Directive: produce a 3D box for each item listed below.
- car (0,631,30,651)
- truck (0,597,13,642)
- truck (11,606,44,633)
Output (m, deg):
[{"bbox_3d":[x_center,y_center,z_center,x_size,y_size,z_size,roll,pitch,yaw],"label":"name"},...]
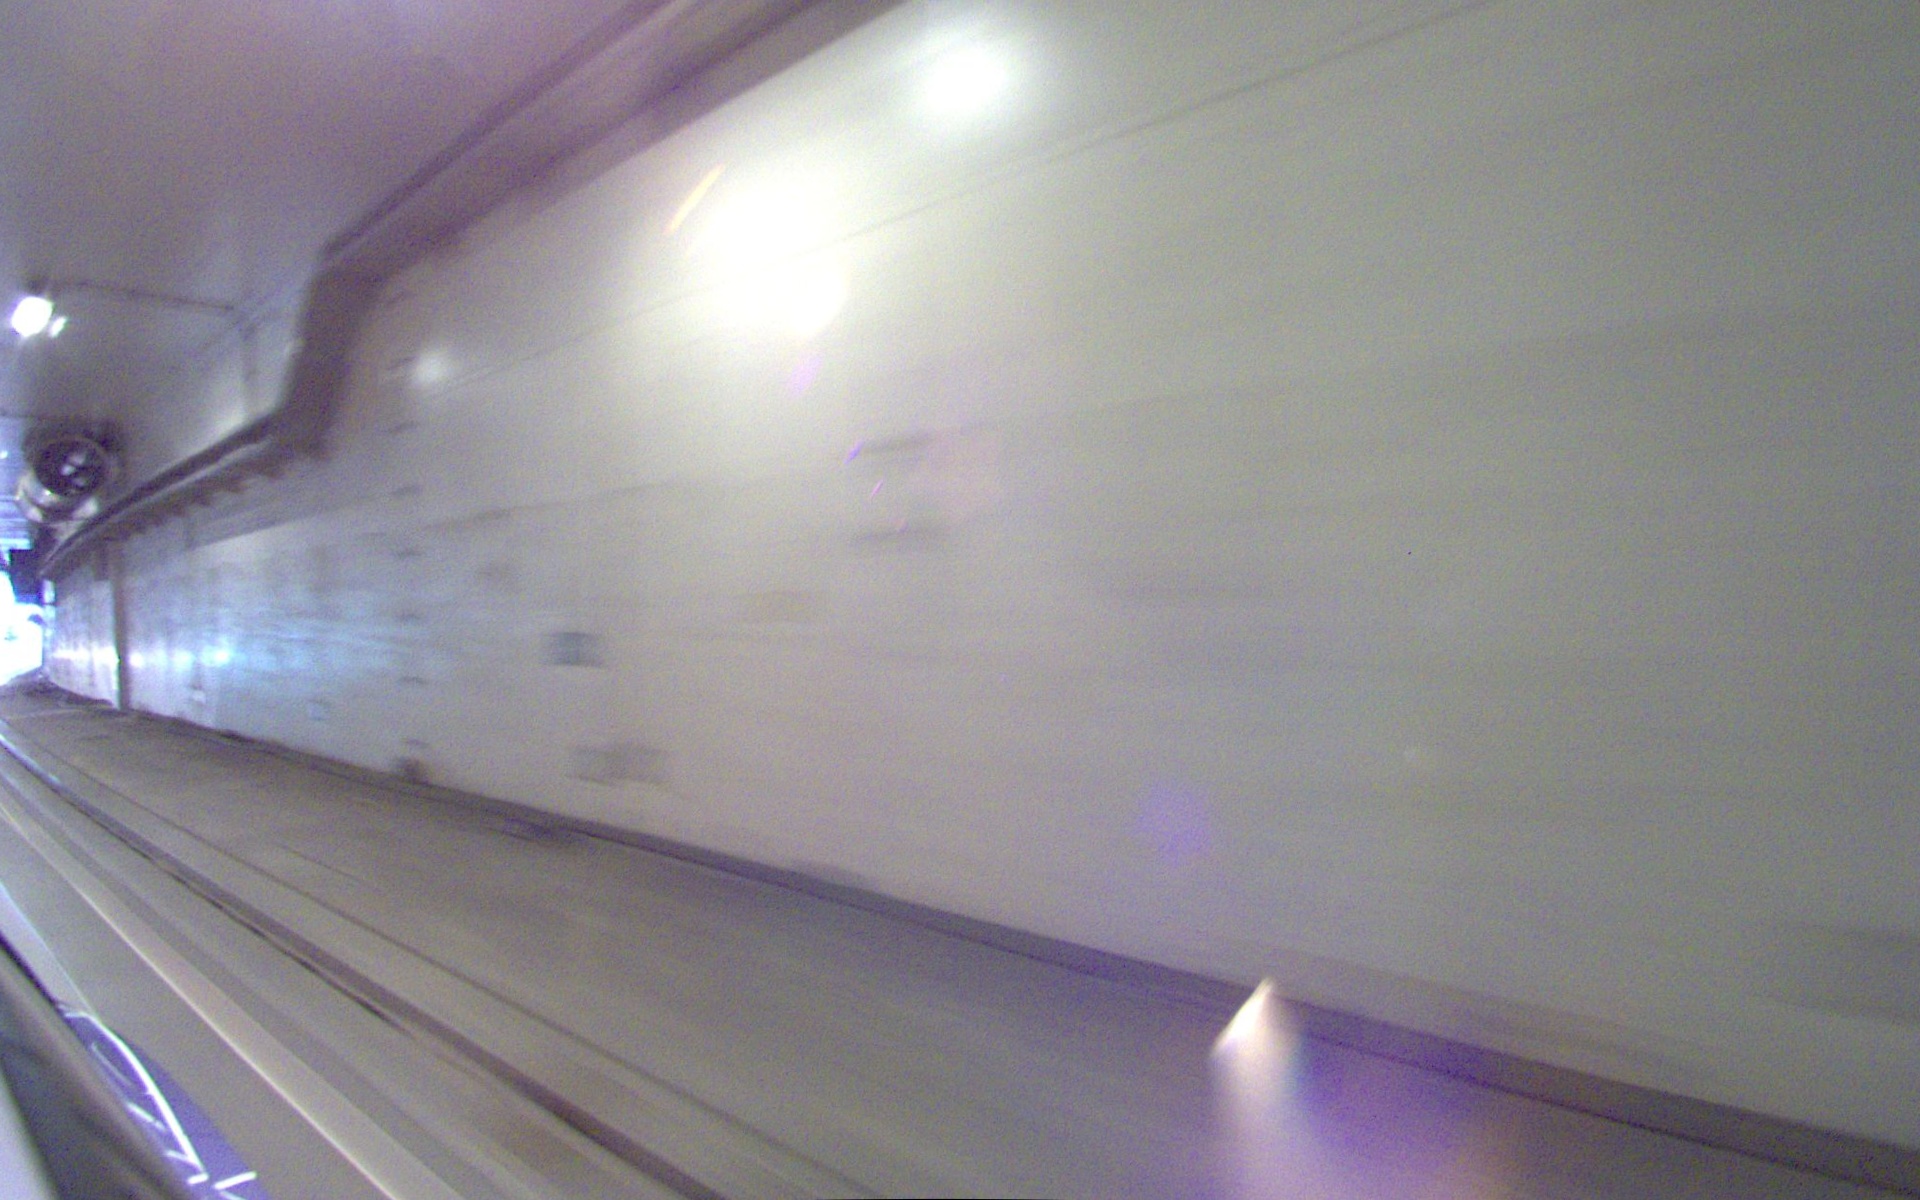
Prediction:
[{"bbox_3d":[-91.033,3.915,97.308,1.920,1.545,4.009,-4,5,-37],"label":"car"},{"bbox_3d":[-105.327,2.145,109.592,2.843,4.504,10.476,-4,4,-38],"label":"truck"},{"bbox_3d":[-108.612,2.257,117.909,2.105,2.748,5.685,-4,4,-37],"label":"truck"}]
